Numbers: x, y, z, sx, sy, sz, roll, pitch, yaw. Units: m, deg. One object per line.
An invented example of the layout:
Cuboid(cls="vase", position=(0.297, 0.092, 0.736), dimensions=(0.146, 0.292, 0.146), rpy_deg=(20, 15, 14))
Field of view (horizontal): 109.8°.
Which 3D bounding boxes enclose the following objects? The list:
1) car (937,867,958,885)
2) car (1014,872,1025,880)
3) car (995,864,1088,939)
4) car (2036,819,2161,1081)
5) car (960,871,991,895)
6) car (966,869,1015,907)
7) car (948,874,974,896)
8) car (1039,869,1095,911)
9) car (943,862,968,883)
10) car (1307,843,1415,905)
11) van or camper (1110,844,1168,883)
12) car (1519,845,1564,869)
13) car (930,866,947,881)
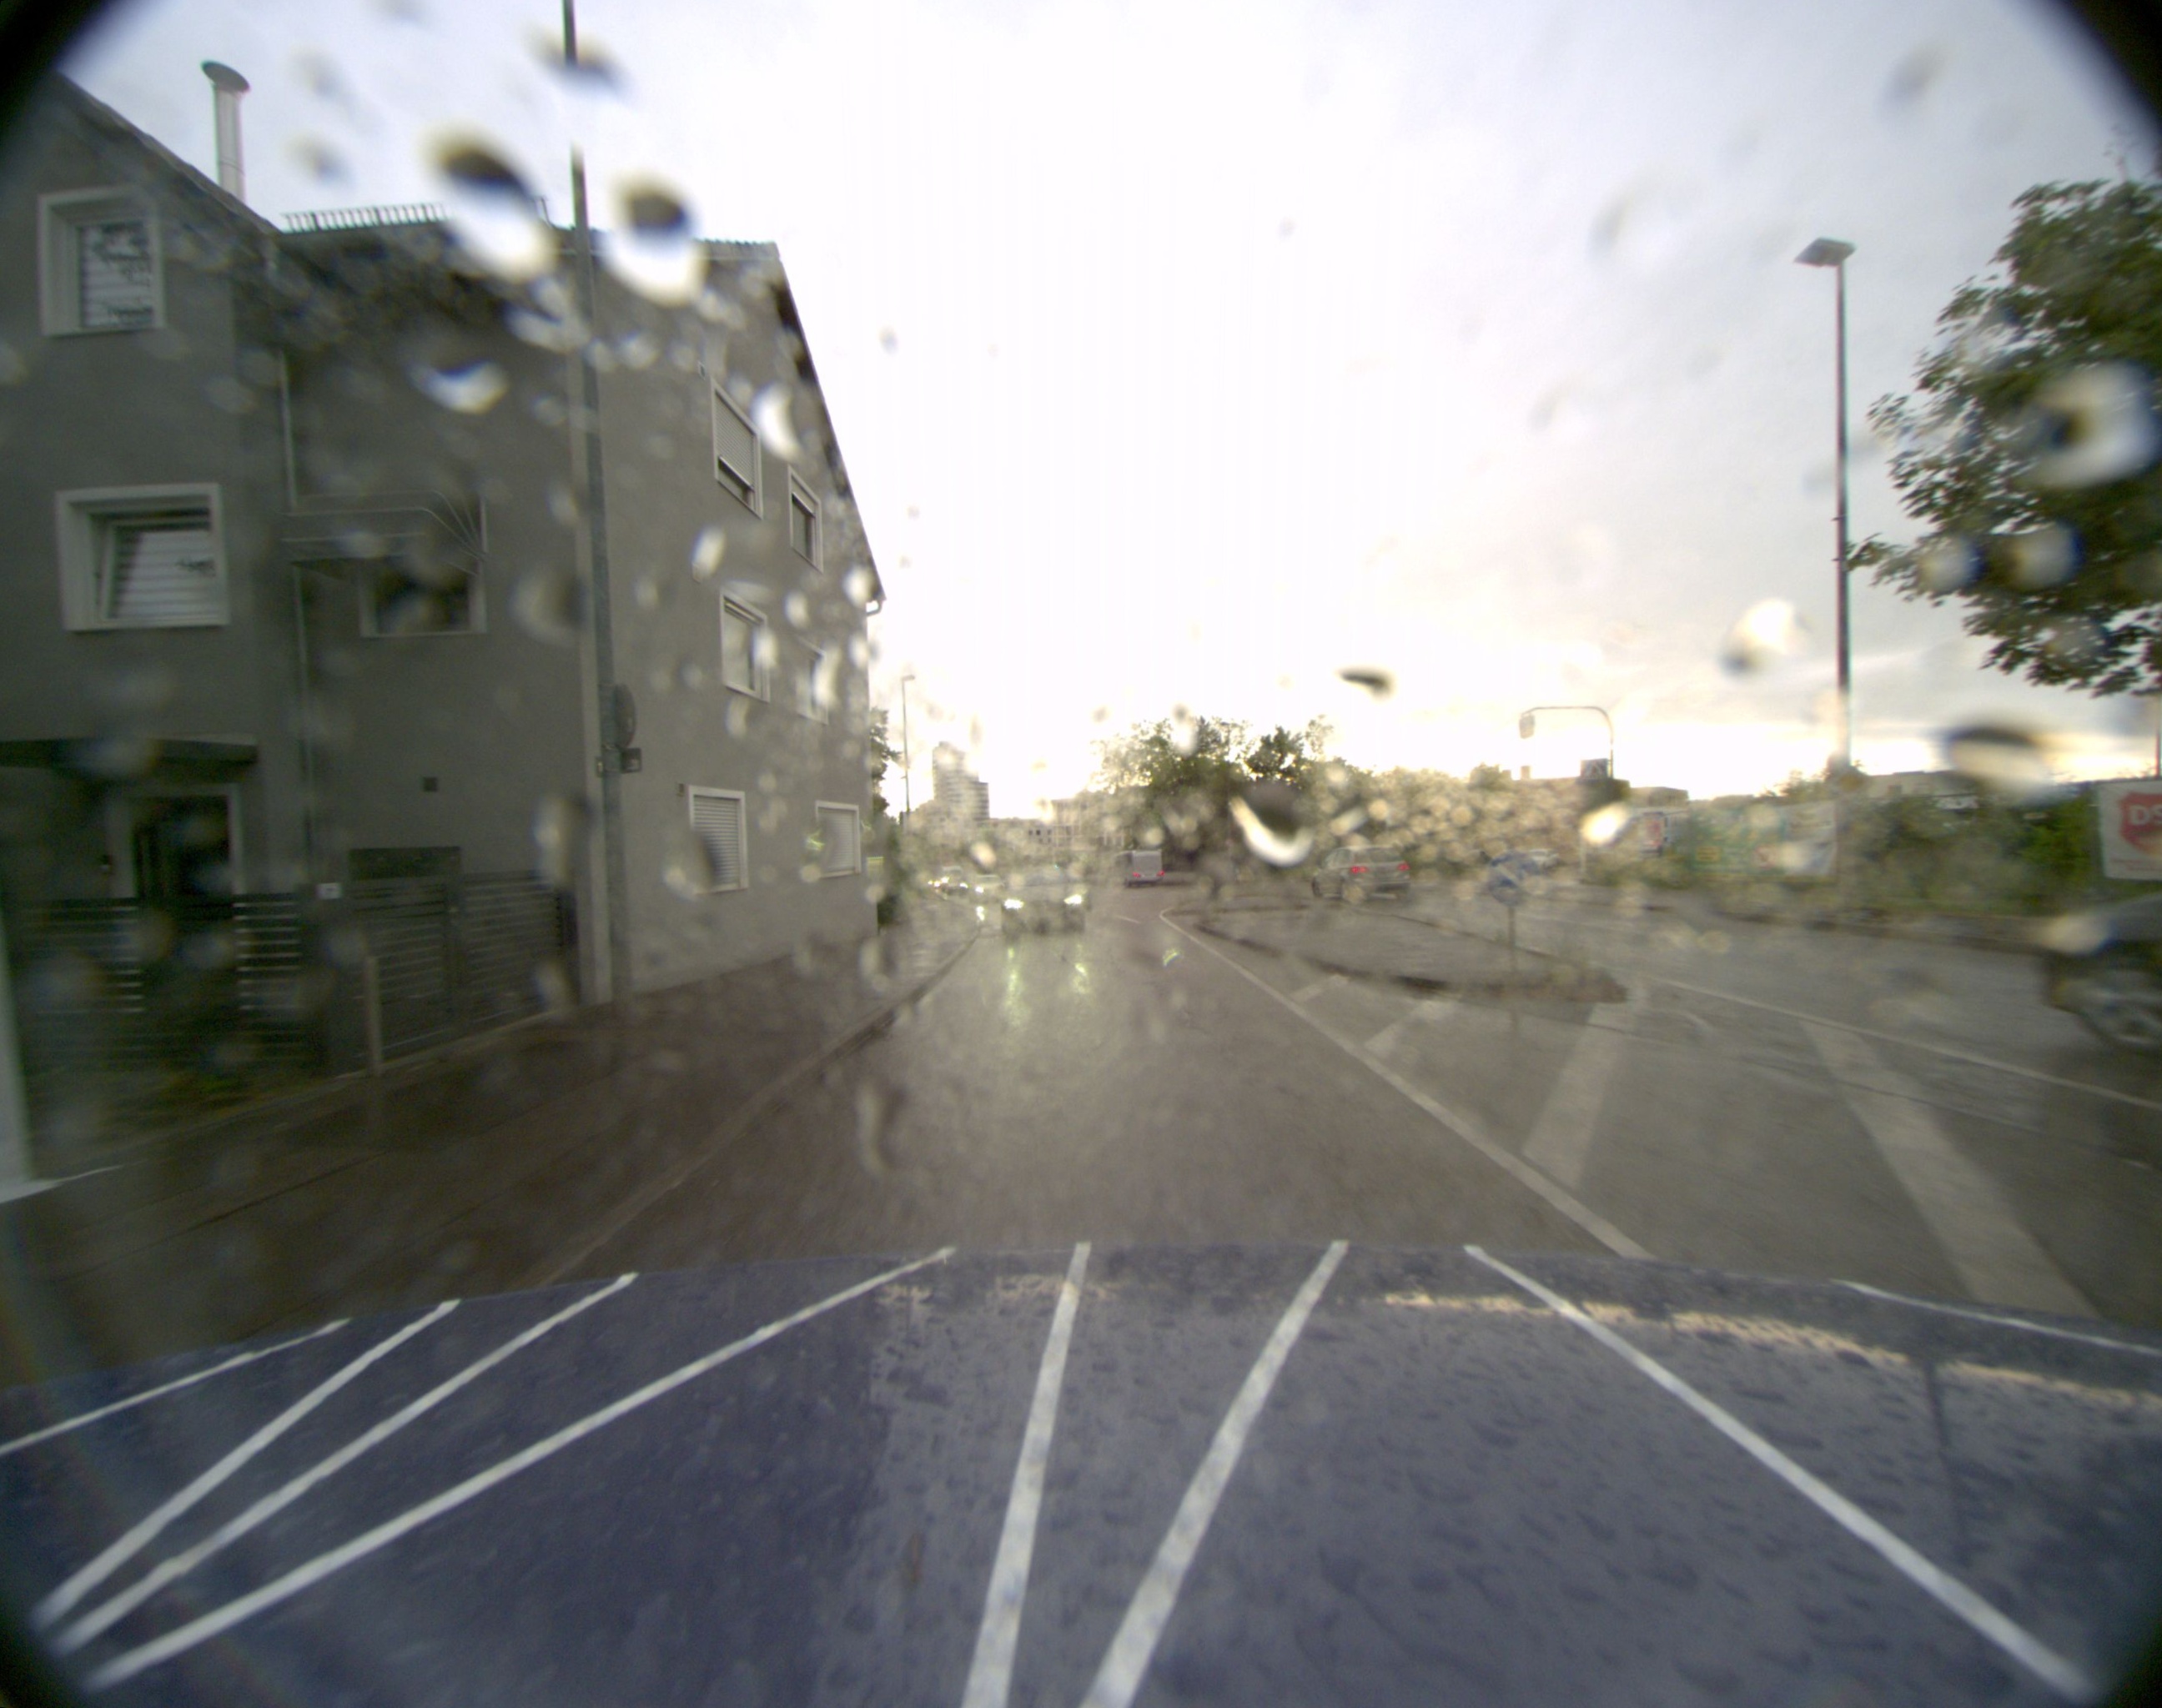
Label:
Cuboid(cls="car", position=(-15.457, 2.542, 87.579), dimensions=(2.032, 1.924, 4.940), rpy_deg=(-3, -2, -13))
Cuboid(cls="car", position=(-12.107, 4.293, 148.728), dimensions=(1.819, 1.506, 3.997), rpy_deg=(-2, 0, -10))
Cuboid(cls="car", position=(-1.127, 1.081, 18.952), dimensions=(1.839, 1.505, 4.845), rpy_deg=(-3, -1, -8))
Cuboid(cls="car", position=(6.894, 0.554, 2.911), dimensions=(1.644, 1.512, 4.072), rpy_deg=(-2, 1, 7))
Cuboid(cls="car", position=(-7.389, 2.001, 52.847), dimensions=(1.902, 1.487, 4.941), rpy_deg=(-2, -1, -10))
Cuboid(cls="car", position=(-4.964, 1.766, 41.218), dimensions=(1.902, 1.649, 4.938), rpy_deg=(-6, 1, -14))
Cuboid(cls="car", position=(-9.914, 2.557, 62.758), dimensions=(1.902, 1.713, 4.461), rpy_deg=(-3, -2, -11))
Cuboid(cls="car", position=(-0.427, 1.257, 28.288), dimensions=(1.790, 1.339, 4.946), rpy_deg=(-3, -1, 2))
Cuboid(cls="car", position=(-12.446, 1.906, 75.317), dimensions=(2.032, 1.924, 4.940), rpy_deg=(-3, -2, -13))
Cuboid(cls="car", position=(8.168, 0.515, 22.545), dimensions=(1.648, 1.543, 4.154), rpy_deg=(-5, 1, 1))
Cuboid(cls="van or camper", position=(4.196, 0.719, 56.900), dimensions=(2.375, 2.640, 7.013), rpy_deg=(-3, 0, -12))
Cuboid(cls="car", position=(34.946, 0.208, 57.580), dimensions=(4.301, 1.598, 1.697), rpy_deg=(-3, 0, -42))
Cuboid(cls="car", position=(-20.120, 2.778, 107.183), dimensions=(2.032, 1.924, 4.940), rpy_deg=(-3, -2, -13))
